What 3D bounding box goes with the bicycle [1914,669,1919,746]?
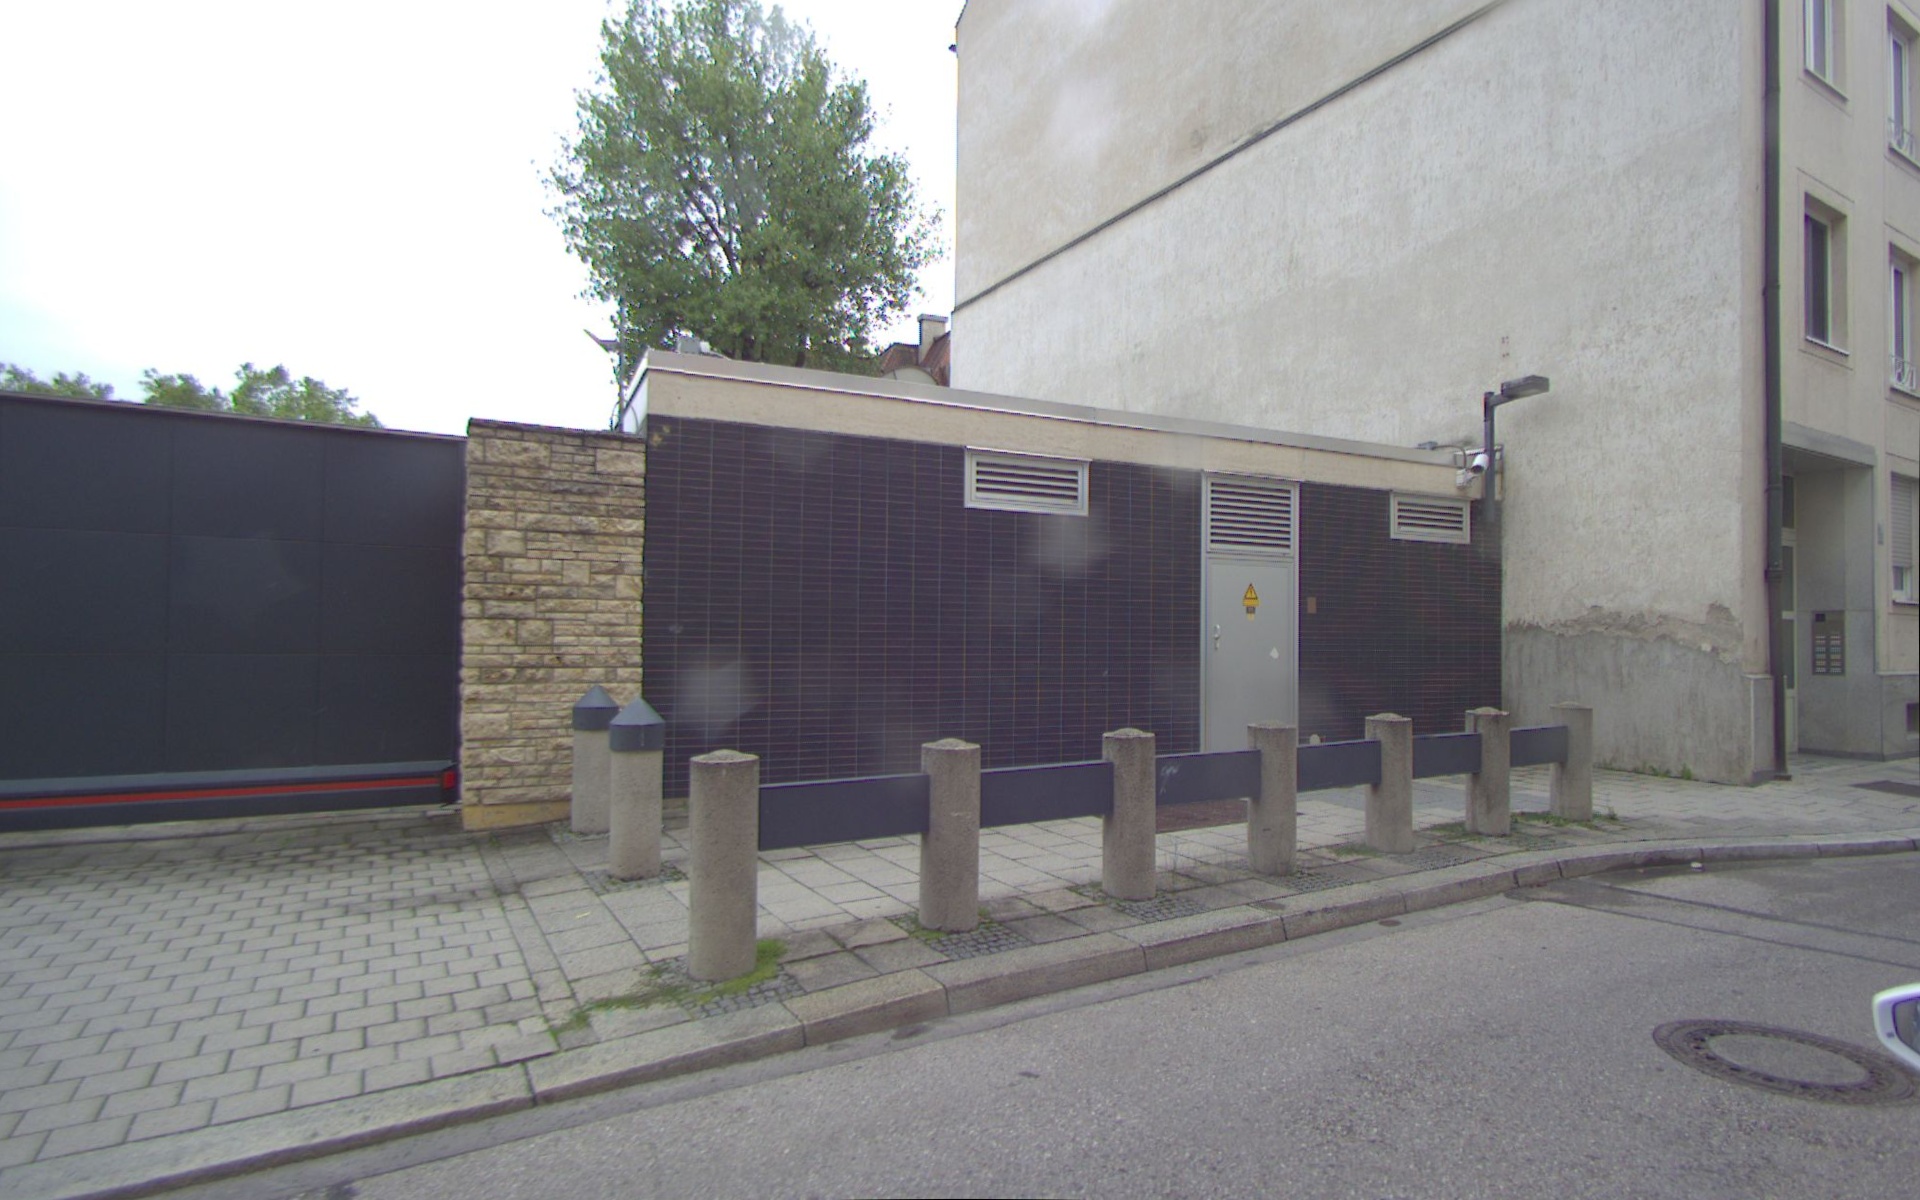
[{"bbox_3d":[12.664,1.357,12.767,1.555,0.956,0.318,1,1,-30],"label":"bicycle"}]
